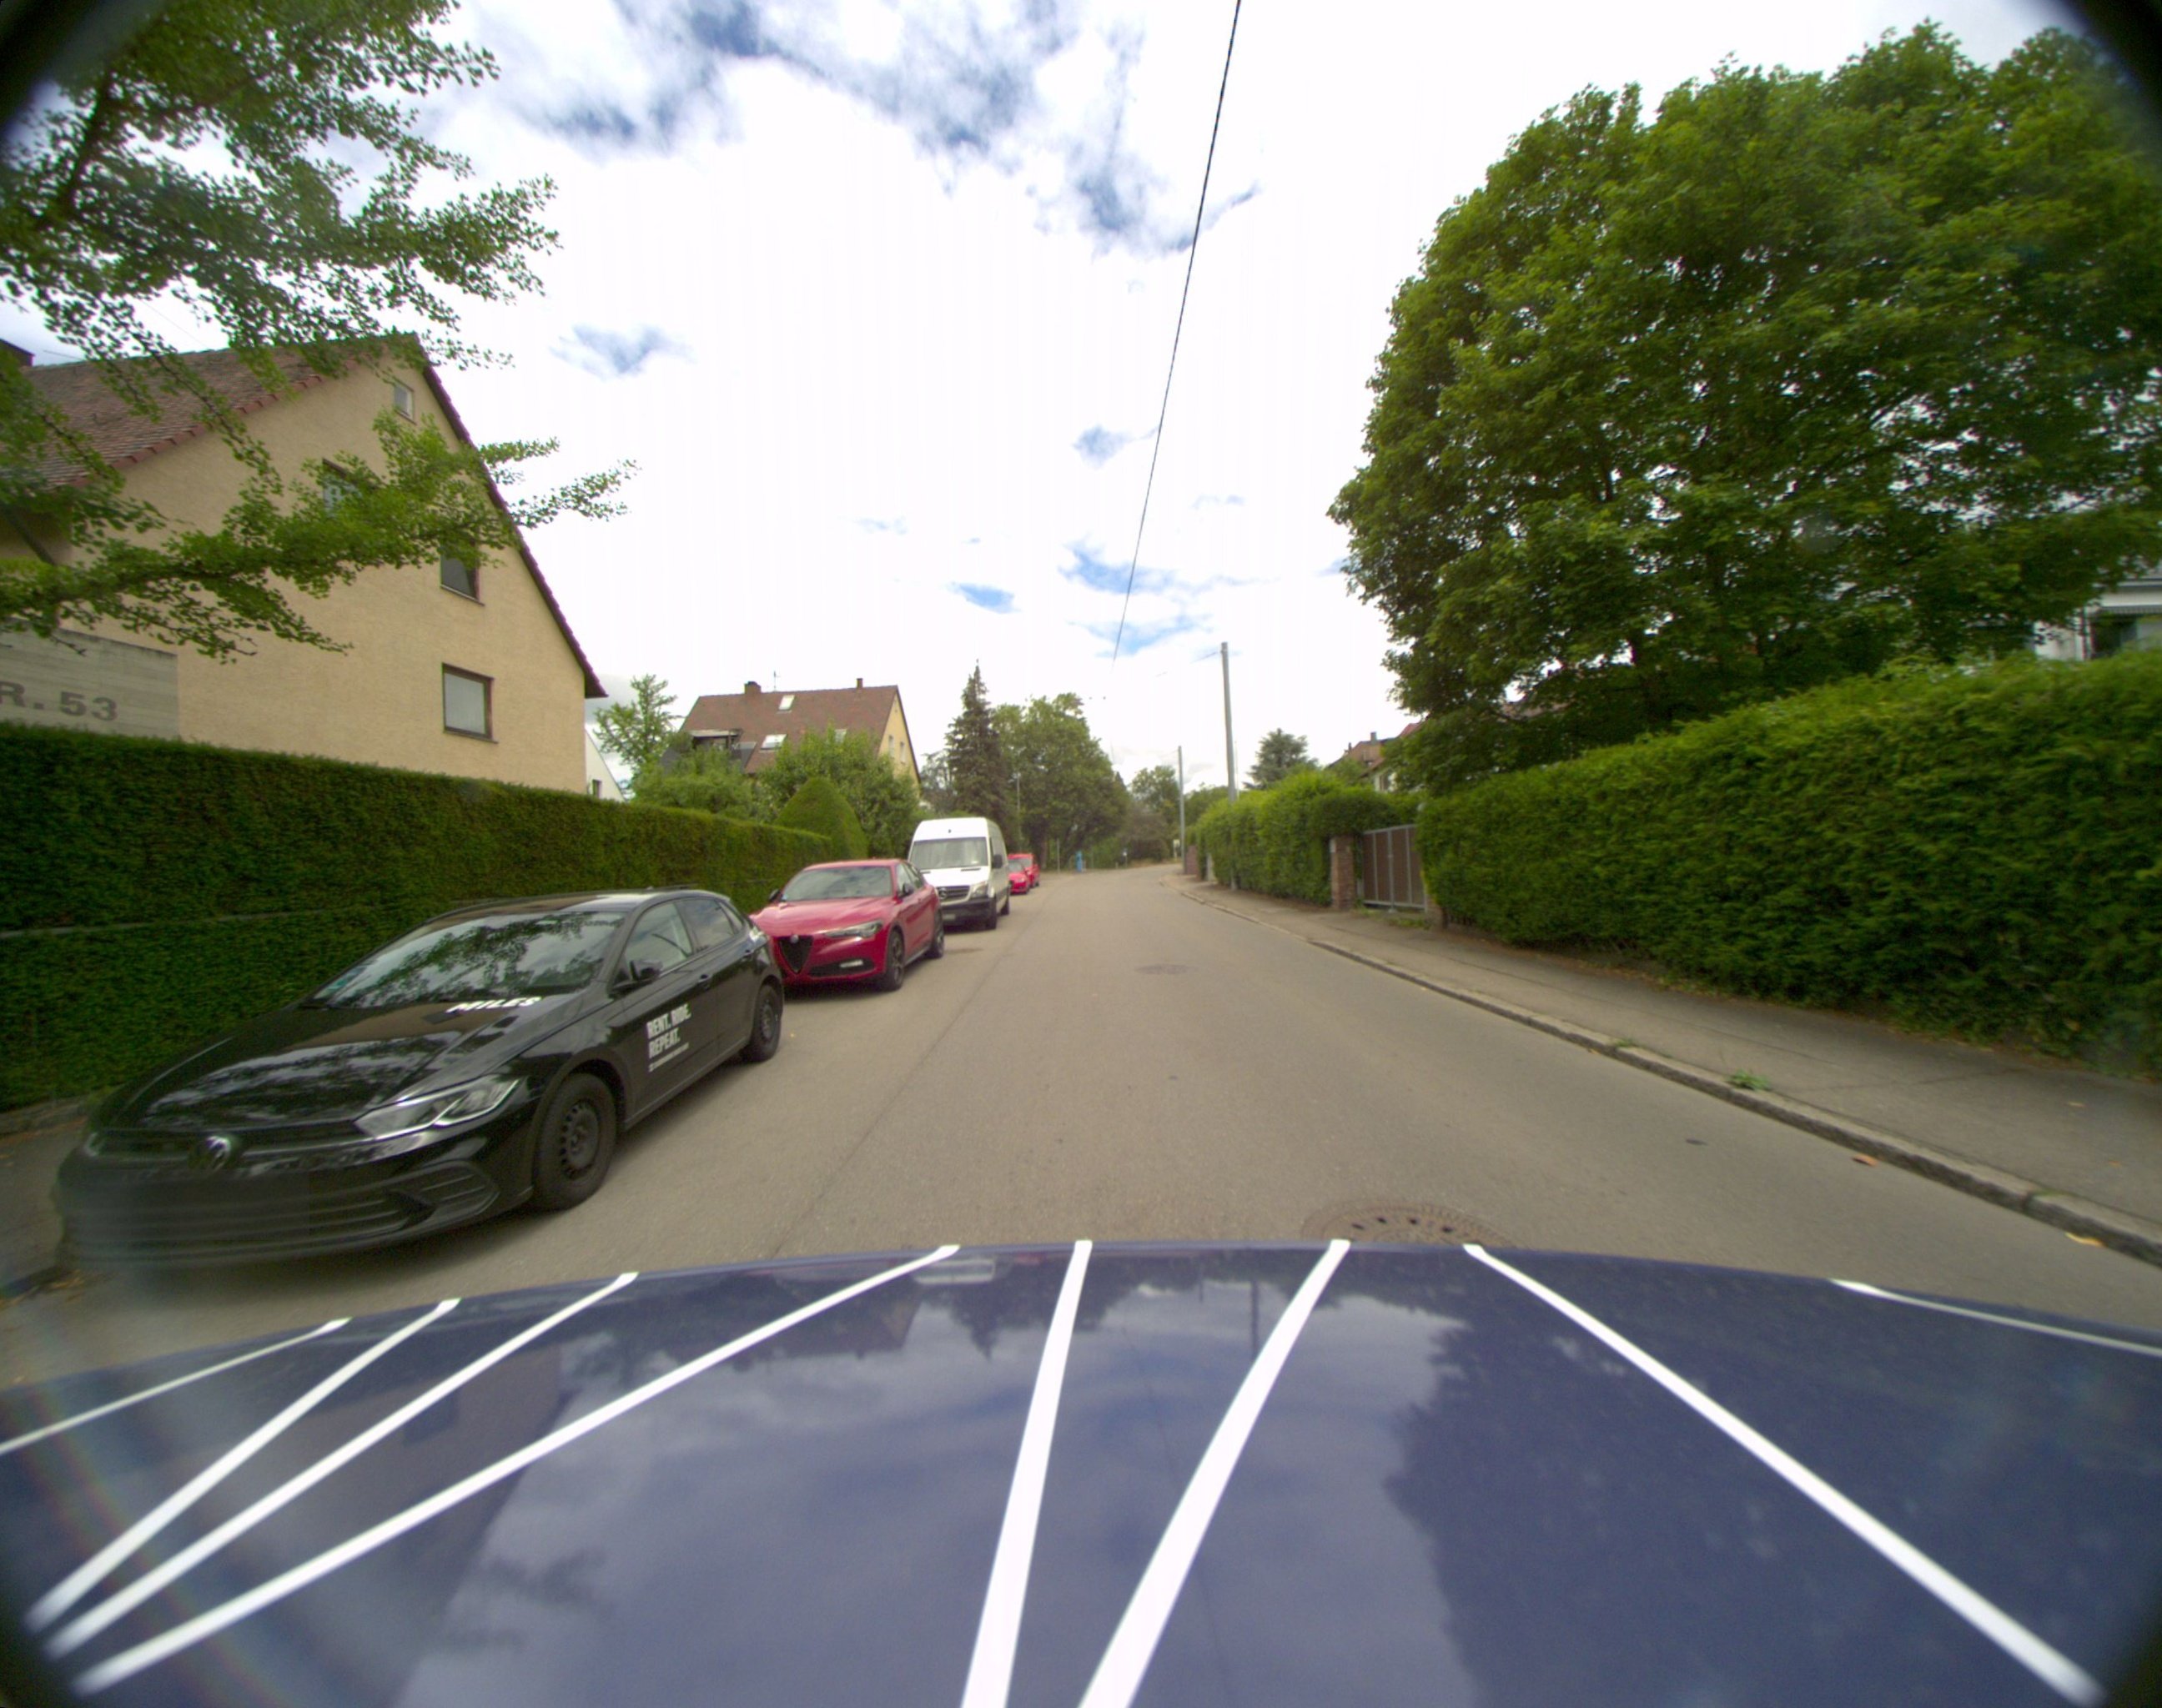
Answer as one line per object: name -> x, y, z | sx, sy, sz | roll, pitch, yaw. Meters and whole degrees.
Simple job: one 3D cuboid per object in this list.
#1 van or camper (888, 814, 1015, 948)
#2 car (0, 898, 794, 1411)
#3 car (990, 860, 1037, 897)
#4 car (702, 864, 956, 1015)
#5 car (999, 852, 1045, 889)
van or camper -> -2.930, 0.545, 18.940 | 2.047, 2.605, 7.037 | -3, 0, -2
car -> -3.243, 1.082, 4.459 | 1.683, 1.399, 4.053 | 0, 0, -2
car -> -2.887, 1.010, 33.262 | 1.704, 1.421, 4.394 | -3, 0, -1
car -> -3.122, 0.958, 10.611 | 1.893, 1.572, 4.765 | 0, 0, 1
car -> -2.994, 0.806, 39.126 | 1.771, 1.755, 4.162 | -3, 0, 3
